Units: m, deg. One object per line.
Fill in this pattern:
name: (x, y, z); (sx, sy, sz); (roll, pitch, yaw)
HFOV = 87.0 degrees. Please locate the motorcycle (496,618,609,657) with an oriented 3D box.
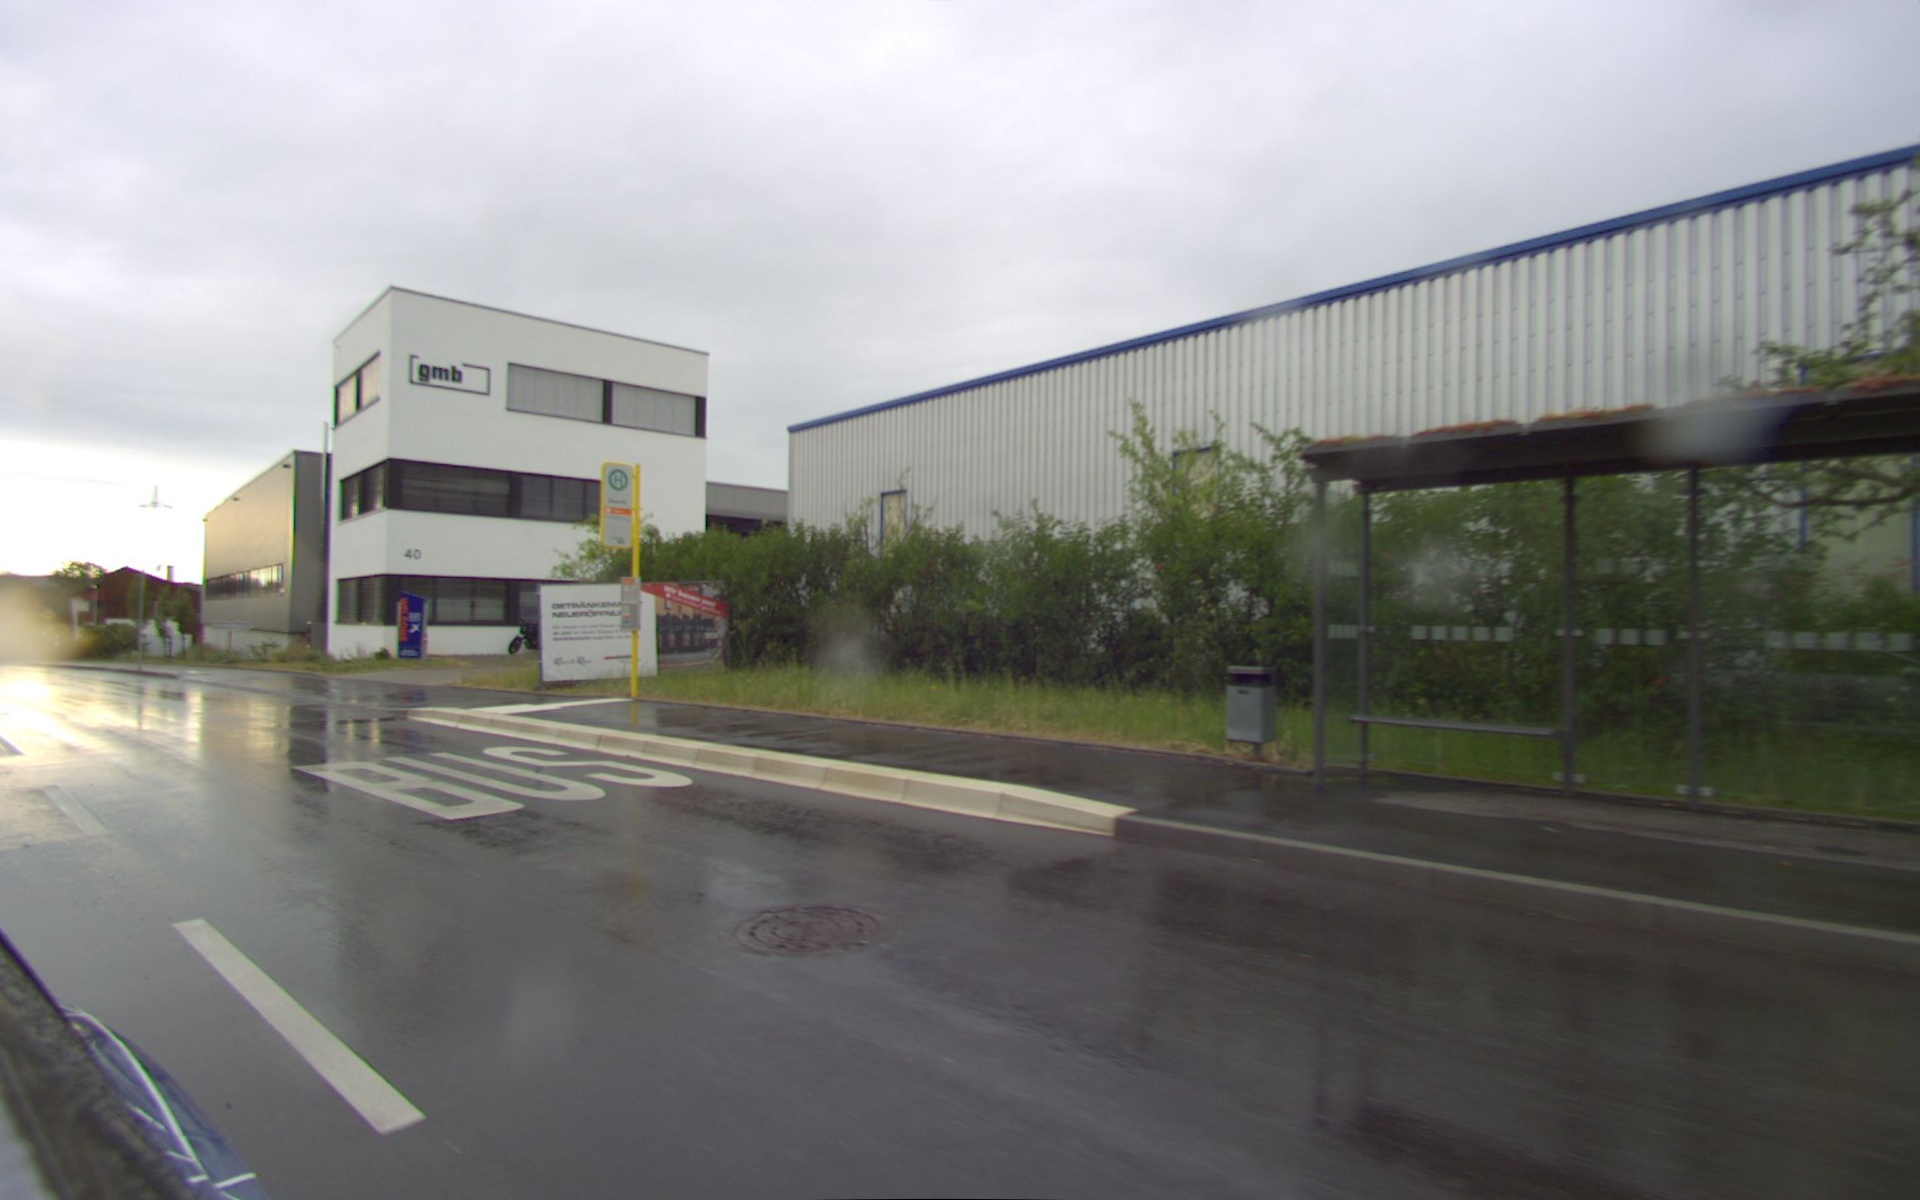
motorcycle: (-14.204, 1.292, 35.413); (3.640, 1.253, 0.778); (0, -2, -42)

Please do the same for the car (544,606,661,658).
car: (-11.876, 1.053, 33.464); (4.607, 1.608, 1.831); (-2, -2, 45)
